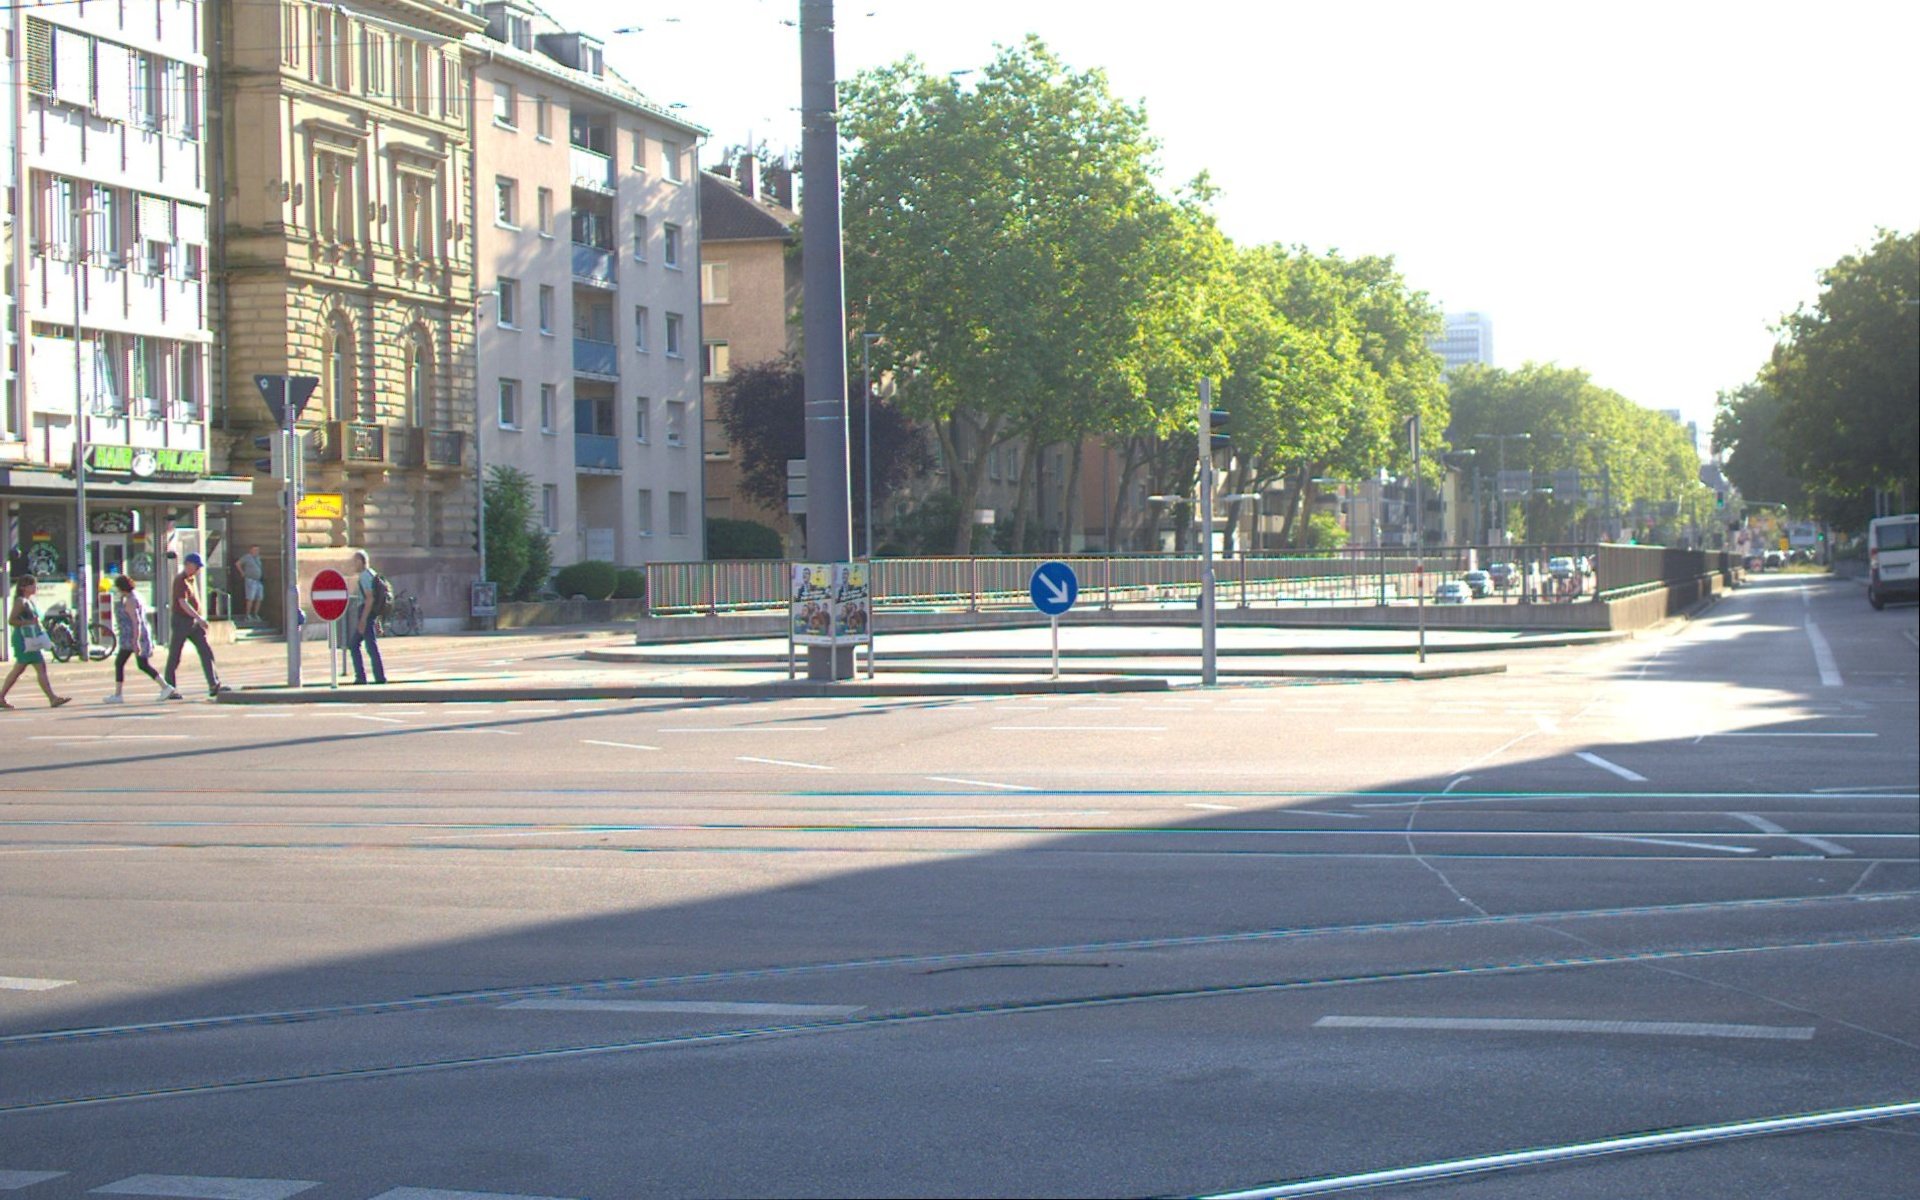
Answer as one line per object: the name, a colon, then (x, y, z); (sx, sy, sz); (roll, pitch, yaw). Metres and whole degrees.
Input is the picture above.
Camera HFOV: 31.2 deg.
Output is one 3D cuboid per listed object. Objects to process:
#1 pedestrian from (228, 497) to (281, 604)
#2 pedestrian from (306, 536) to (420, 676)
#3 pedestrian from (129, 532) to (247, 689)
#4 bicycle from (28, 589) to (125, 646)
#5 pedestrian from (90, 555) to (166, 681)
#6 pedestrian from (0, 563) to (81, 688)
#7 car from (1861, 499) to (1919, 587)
pedestrian: (-16.029, -1.122, 78.127); (0.926, 2.390, 0.961); (1, 1, 3)
pedestrian: (-7.537, 0.068, 43.431); (1.195, 1.725, 0.856); (1, 1, 9)
pedestrian: (-9.555, 0.117, 42.600); (1.195, 1.877, 0.856); (1, 3, 9)
bicycle: (-16.930, 0.321, 65.918); (0.452, 1.067, 2.088); (1, 1, 30)
pedestrian: (-10.002, 0.221, 41.298); (0.853, 1.460, 0.686); (1, -4, -15)
pedestrian: (-10.921, 0.297, 40.687); (0.705, 1.448, 0.856); (1, 1, 9)
car: (24.064, -1.437, 87.161); (2.287, 2.165, 4.830); (1, 1, 15)
